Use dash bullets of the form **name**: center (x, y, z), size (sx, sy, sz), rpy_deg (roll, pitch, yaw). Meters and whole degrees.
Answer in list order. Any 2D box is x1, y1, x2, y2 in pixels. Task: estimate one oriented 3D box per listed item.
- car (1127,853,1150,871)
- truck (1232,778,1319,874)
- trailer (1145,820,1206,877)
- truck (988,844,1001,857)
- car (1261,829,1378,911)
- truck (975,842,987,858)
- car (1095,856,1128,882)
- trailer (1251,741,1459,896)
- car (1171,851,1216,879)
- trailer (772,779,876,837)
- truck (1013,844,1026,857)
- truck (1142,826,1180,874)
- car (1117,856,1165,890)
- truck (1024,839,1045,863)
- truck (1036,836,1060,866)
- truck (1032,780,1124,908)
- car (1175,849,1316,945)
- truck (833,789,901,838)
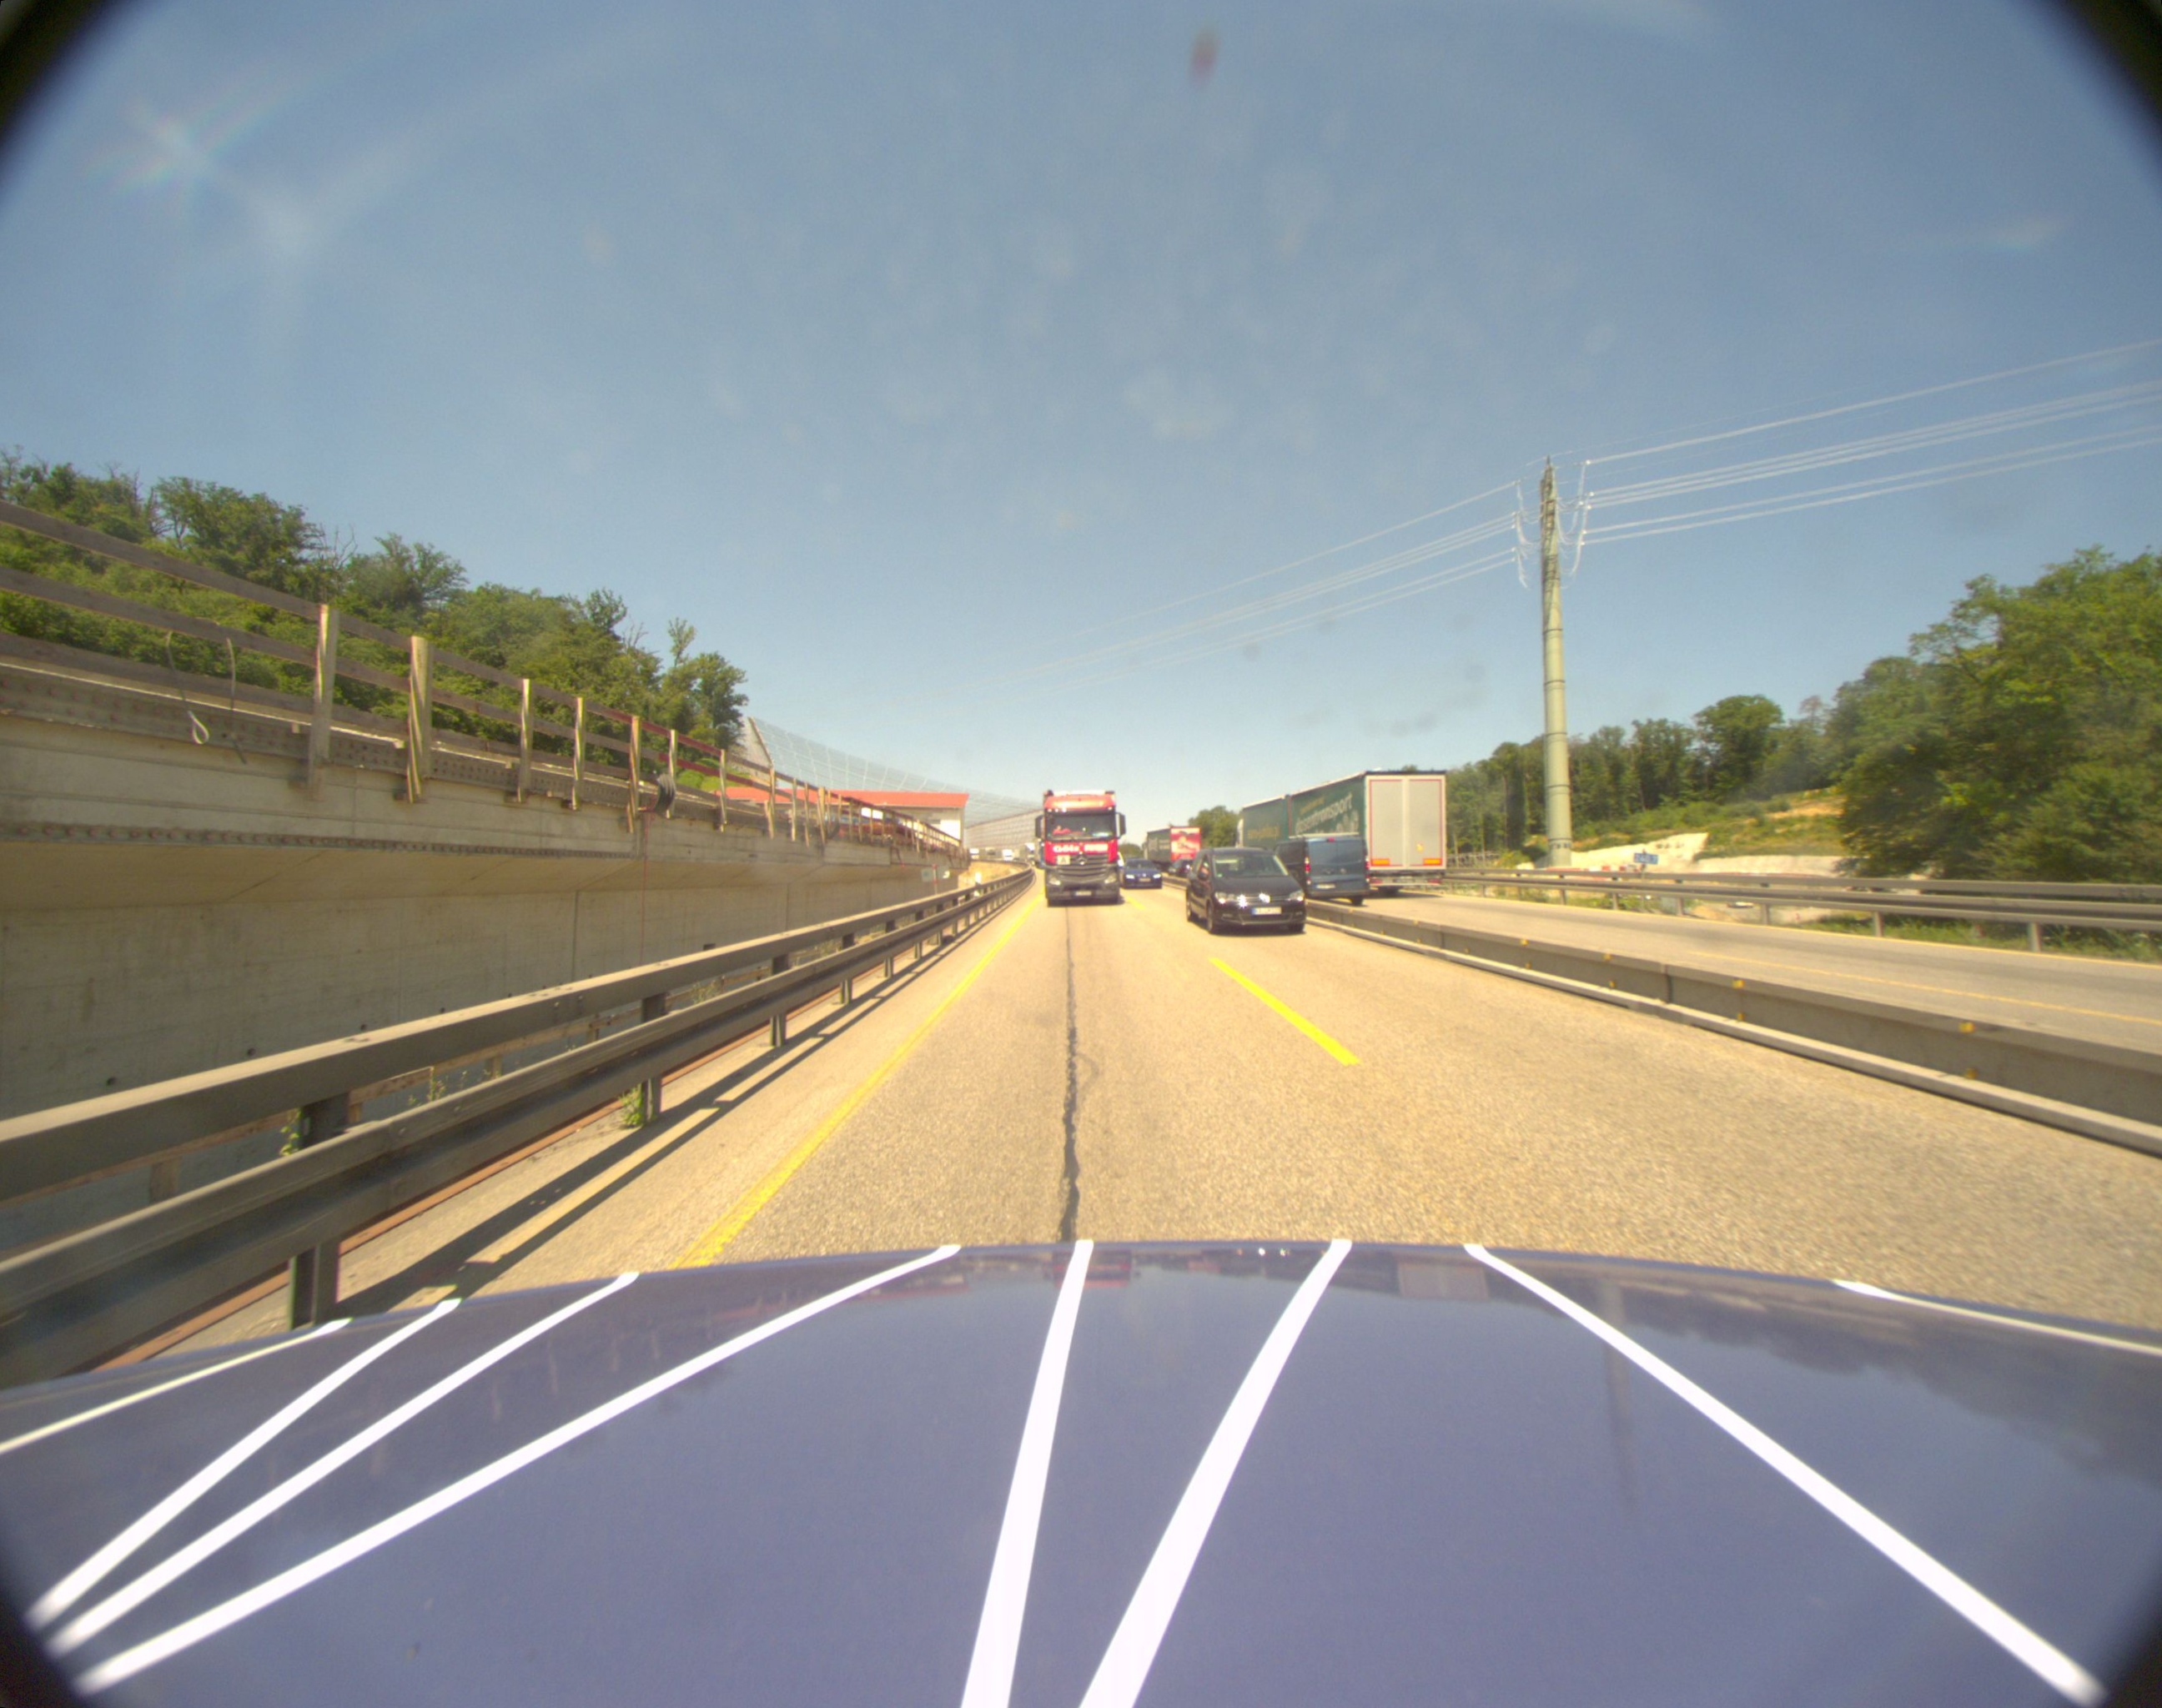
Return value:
- **car**: center (5.565, 0.790, 73.899), size (1.962, 1.671, 4.113), rpy_deg (-1, 0, 1)
- **truck**: center (9.927, -1.381, 39.358), size (2.854, 4.554, 5.786), rpy_deg (-2, 1, -1)
- **trailer**: center (8.638, -0.437, 71.847), size (3.073, 4.787, 13.998), rpy_deg (-2, 0, -3)
- **truck**: center (-26.355, -1.002, 231.931), size (3.042, 3.725, 8.246), rpy_deg (-2, 1, -3)
- **car**: center (7.012, 0.392, 22.912), size (1.998, 2.160, 4.831), rpy_deg (-2, 1, 1)
- **truck**: center (-30.786, -1.274, 233.919), size (3.044, 4.778, 8.932), rpy_deg (-2, 1, -10)
- **car**: center (2.296, 1.132, 58.985), size (1.947, 1.858, 5.221), rpy_deg (-2, 0, -4)
- **trailer**: center (9.964, -1.189, 30.398), size (2.841, 4.615, 14.577), rpy_deg (-2, 1, -1)
- **car**: center (6.619, 0.596, 45.186), size (1.907, 1.454, 4.756), rpy_deg (-2, 1, 0)
- **trailer**: center (-20.046, -3.480, 60.009), size (2.714, 3.671, 9.012), rpy_deg (-1, -2, 20)
- **truck**: center (-19.839, -1.232, 245.300), size (3.044, 4.033, 8.665), rpy_deg (-2, 1, -11)
- **truck**: center (8.209, -0.403, 78.781), size (3.069, 4.793, 4.644), rpy_deg (-2, 0, -3)
- **car**: center (2.913, 0.888, 37.987), size (1.896, 1.546, 4.785), rpy_deg (-2, 0, -1)
- **truck**: center (-8.712, -0.544, 142.051), size (2.912, 4.208, 9.232), rpy_deg (-2, 1, -9)
- **truck**: center (-4.715, -0.487, 108.059), size (2.673, 3.986, 10.422), rpy_deg (-2, 1, -6)
- **truck**: center (-0.107, -0.400, 29.192), size (2.798, 3.986, 10.427), rpy_deg (-2, 1, 0)
- **car**: center (3.305, 0.795, 16.384), size (1.861, 1.695, 5.304), rpy_deg (-2, 0, 0)
- **truck**: center (-18.221, -3.358, 65.060), size (2.714, 3.672, 5.721), rpy_deg (-1, -2, 20)
